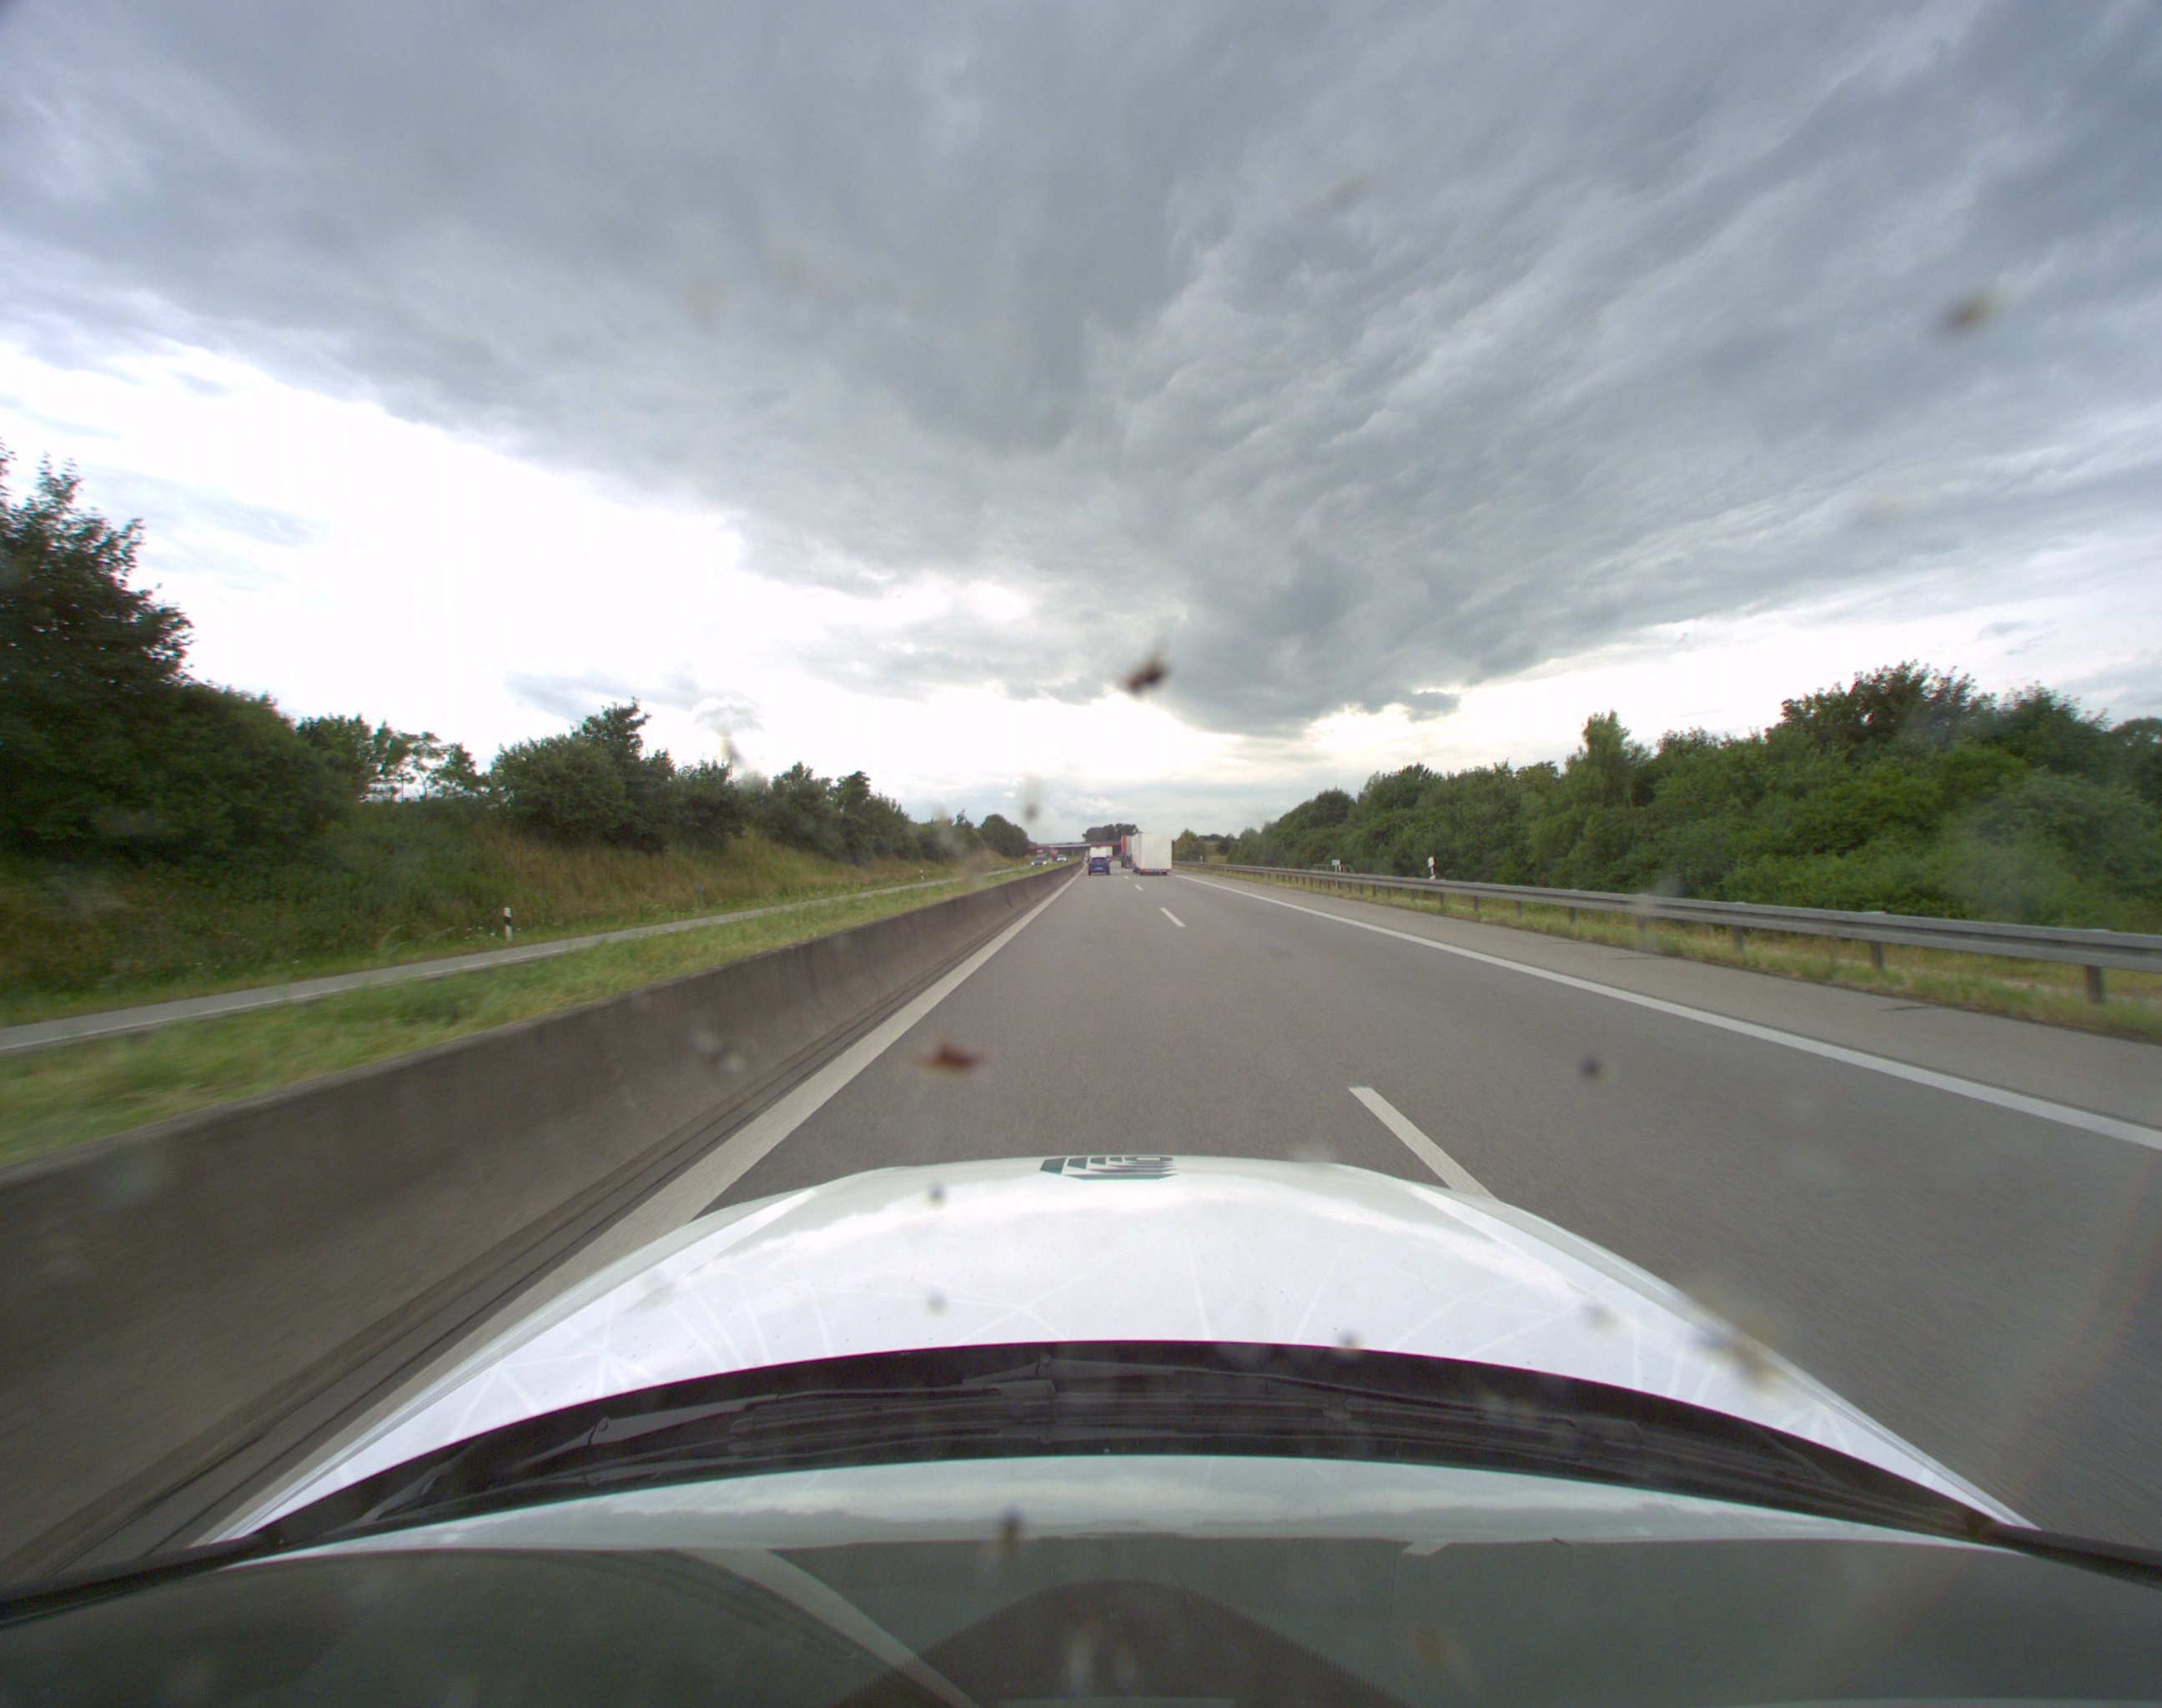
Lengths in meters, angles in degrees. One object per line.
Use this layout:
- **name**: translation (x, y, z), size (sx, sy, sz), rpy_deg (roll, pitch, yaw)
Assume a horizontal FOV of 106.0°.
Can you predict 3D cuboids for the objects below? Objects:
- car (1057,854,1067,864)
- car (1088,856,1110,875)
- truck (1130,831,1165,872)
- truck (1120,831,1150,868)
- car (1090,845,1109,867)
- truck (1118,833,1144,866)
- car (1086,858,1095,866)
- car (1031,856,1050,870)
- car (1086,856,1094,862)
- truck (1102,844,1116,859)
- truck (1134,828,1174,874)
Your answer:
- **car**: translation (-4.013, 1.108, 175.019), size (1.973, 2.013, 5.130), rpy_deg (-1, 0, 1)
- **car**: translation (1.438, 0.865, 63.925), size (1.657, 1.407, 3.650), rpy_deg (-1, 0, 2)
- **truck**: translation (5.520, -0.199, 68.913), size (2.421, 3.243, 7.247), rpy_deg (-1, 0, 1)
- **truck**: translation (6.354, -0.529, 97.632), size (2.665, 4.045, 11.103), rpy_deg (-2, 0, -1)
- **car**: translation (2.167, 0.272, 96.193), size (2.123, 2.482, 5.838), rpy_deg (-2, 0, 0)
- **truck**: translation (6.298, -0.542, 103.029), size (2.665, 4.045, 5.510), rpy_deg (-2, 0, -1)
- **car**: translation (2.366, 1.883, 194.379), size (1.927, 1.643, 4.906), rpy_deg (-2, 0, 2)
- **car**: translation (-5.056, 1.138, 102.773), size (1.912, 1.694, 4.598), rpy_deg (-3, 0, 1)
- **car**: translation (2.448, 1.388, 227.922), size (1.988, 1.684, 3.998), rpy_deg (-1, 0, -1)
- **truck**: translation (7.175, -0.572, 210.308), size (3.101, 3.689, 9.318), rpy_deg (-4, 0, -1)
- **truck**: translation (5.422, -0.201, 61.720), size (2.407, 3.222, 7.144), rpy_deg (-1, 0, 1)
